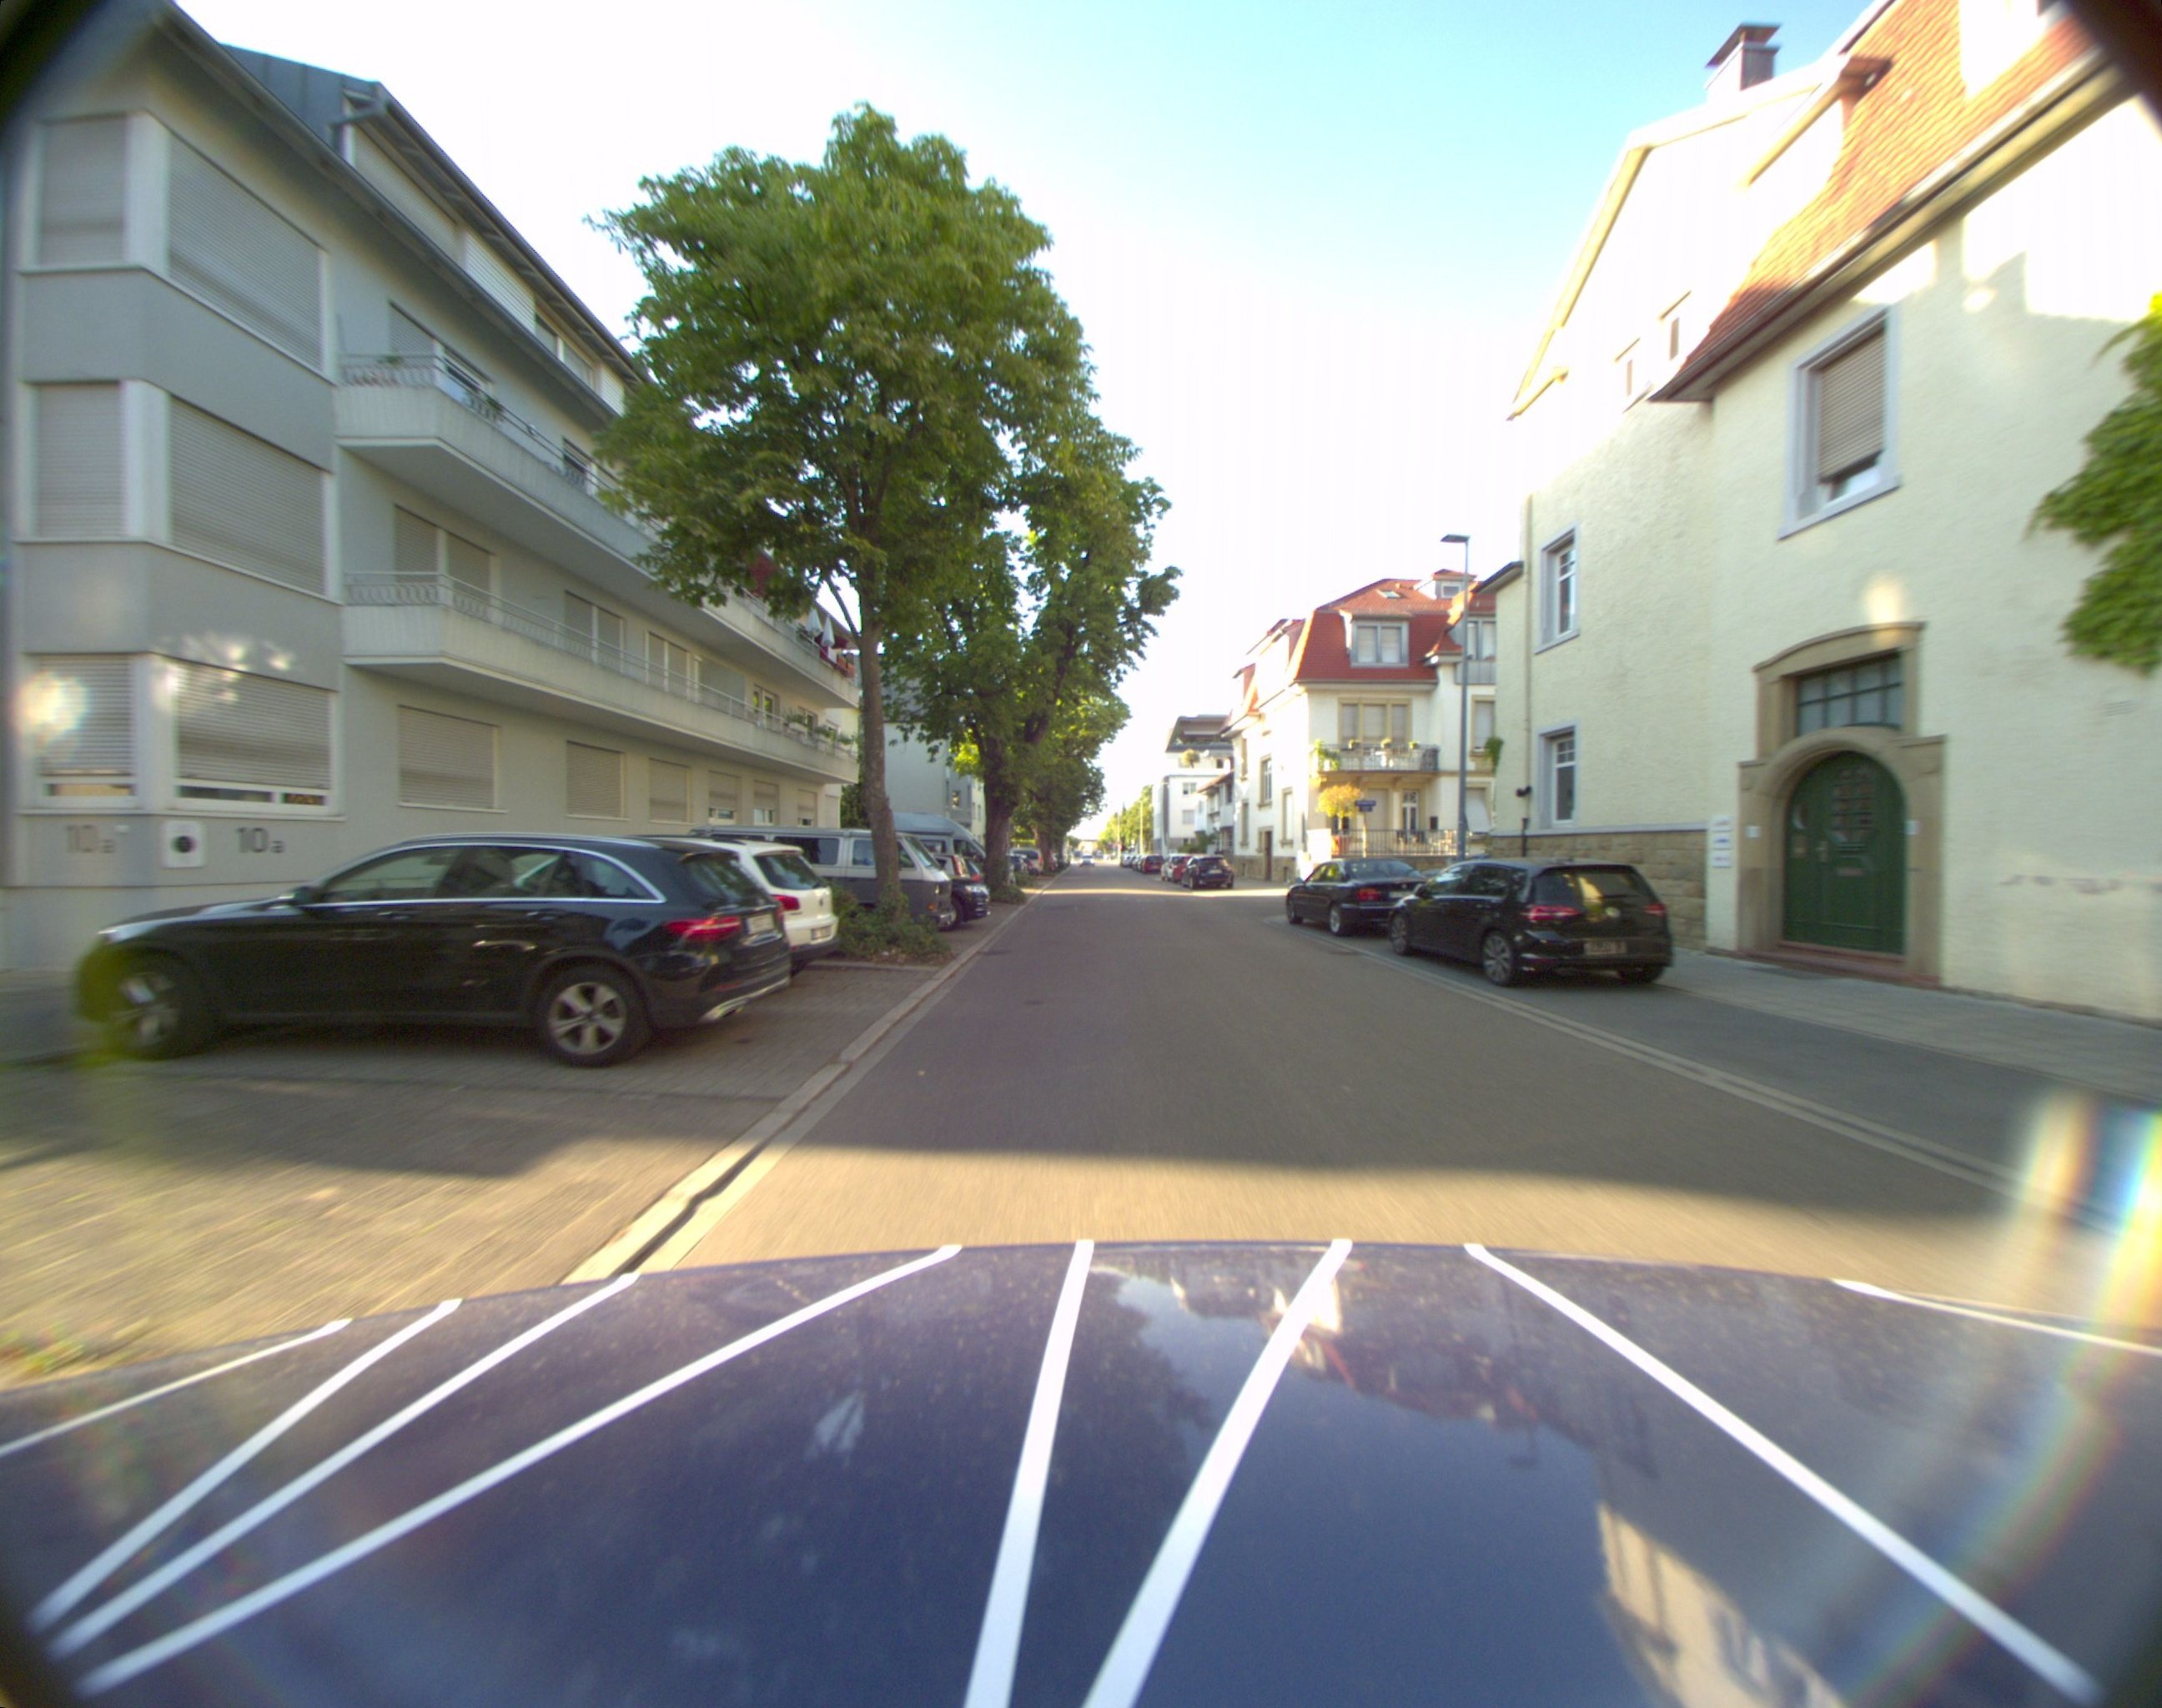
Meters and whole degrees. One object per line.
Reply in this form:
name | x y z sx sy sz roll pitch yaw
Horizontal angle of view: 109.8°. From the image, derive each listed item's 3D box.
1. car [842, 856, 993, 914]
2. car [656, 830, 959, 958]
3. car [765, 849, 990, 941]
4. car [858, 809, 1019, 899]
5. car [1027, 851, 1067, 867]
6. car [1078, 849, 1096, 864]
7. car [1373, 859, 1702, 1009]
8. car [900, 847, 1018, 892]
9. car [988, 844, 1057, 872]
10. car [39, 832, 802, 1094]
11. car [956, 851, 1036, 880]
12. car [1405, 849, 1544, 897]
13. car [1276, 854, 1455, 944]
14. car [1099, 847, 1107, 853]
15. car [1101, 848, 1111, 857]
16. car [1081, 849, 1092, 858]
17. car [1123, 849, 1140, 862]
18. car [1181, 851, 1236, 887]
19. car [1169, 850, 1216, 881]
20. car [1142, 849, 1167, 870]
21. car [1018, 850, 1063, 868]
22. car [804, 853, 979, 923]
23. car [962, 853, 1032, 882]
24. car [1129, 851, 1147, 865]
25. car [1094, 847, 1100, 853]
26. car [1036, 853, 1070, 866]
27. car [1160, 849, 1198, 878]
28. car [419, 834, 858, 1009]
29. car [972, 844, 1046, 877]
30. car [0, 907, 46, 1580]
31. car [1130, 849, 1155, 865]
car | -4.346 0.805 20.626 3.730 1.422 1.758 0 2 -1
car | -4.467 0.621 12.990 4.481 2.002 1.895 0 1 -1
car | -3.945 0.773 15.369 4.188 1.714 1.764 0 1 -7
car | -4.765 0.006 26.009 5.109 2.885 2.075 1 1 -2
car | -3.228 0.465 72.772 3.680 1.434 1.601 1 0 1
car | 0.708 0.300 92.090 2.098 1.700 4.606 0 1 1
car | 5.378 0.817 9.690 1.658 1.407 4.167 -1 0 0
car | -4.563 0.573 28.852 4.200 1.559 1.758 2 1 -1
car | -4.237 0.284 55.493 4.819 1.925 1.950 1 0 1
car | -4.677 0.743 5.920 4.343 1.673 1.705 1 0 -2
car | -4.704 0.614 42.575 4.313 1.532 1.758 1 0 -3
car | 13.152 0.621 25.536 3.773 1.550 1.761 0 -1 -4
car | 5.375 0.757 15.080 1.714 1.461 4.632 -1 0 -1
car | 5.585 -1.015 191.490 1.913 1.679 4.198 -2 0 1
car | 5.333 -0.343 160.550 1.913 1.679 4.198 -2 0 1
car | 1.089 -0.081 138.748 1.913 1.679 4.198 -2 0 1
car | 5.729 0.214 86.082 1.723 1.386 3.908 -2 0 2
car | 5.503 0.603 33.381 1.657 1.446 4.630 -1 0 1
car | 5.649 0.531 38.836 1.586 1.468 3.705 -1 0 -4
car | 5.563 0.392 57.973 1.654 1.474 3.429 -2 0 2
car | -3.461 0.456 65.311 3.680 1.488 1.676 1 0 1
car | -4.428 0.768 18.107 3.729 1.545 1.639 0 1 2
car | -4.372 0.674 39.841 3.411 1.419 1.759 1 0 0
car | 6.057 0.417 80.868 1.723 1.386 3.908 -2 0 2
car | 4.989 -1.275 236.555 1.913 1.679 4.198 -2 0 1
car | -3.287 0.591 88.661 3.828 1.477 1.600 1 0 -7
car | 5.515 0.516 43.236 1.585 1.511 3.706 -1 0 -1
car | -4.776 0.676 8.568 3.958 1.673 1.706 1 0 3
car | -4.243 0.393 45.262 4.313 1.874 1.758 1 1 -3
car | -4.535 0.838 0.874 4.166 1.530 1.851 2 1 0
car | 5.700 0.269 70.528 1.743 1.451 4.563 -2 0 -2
